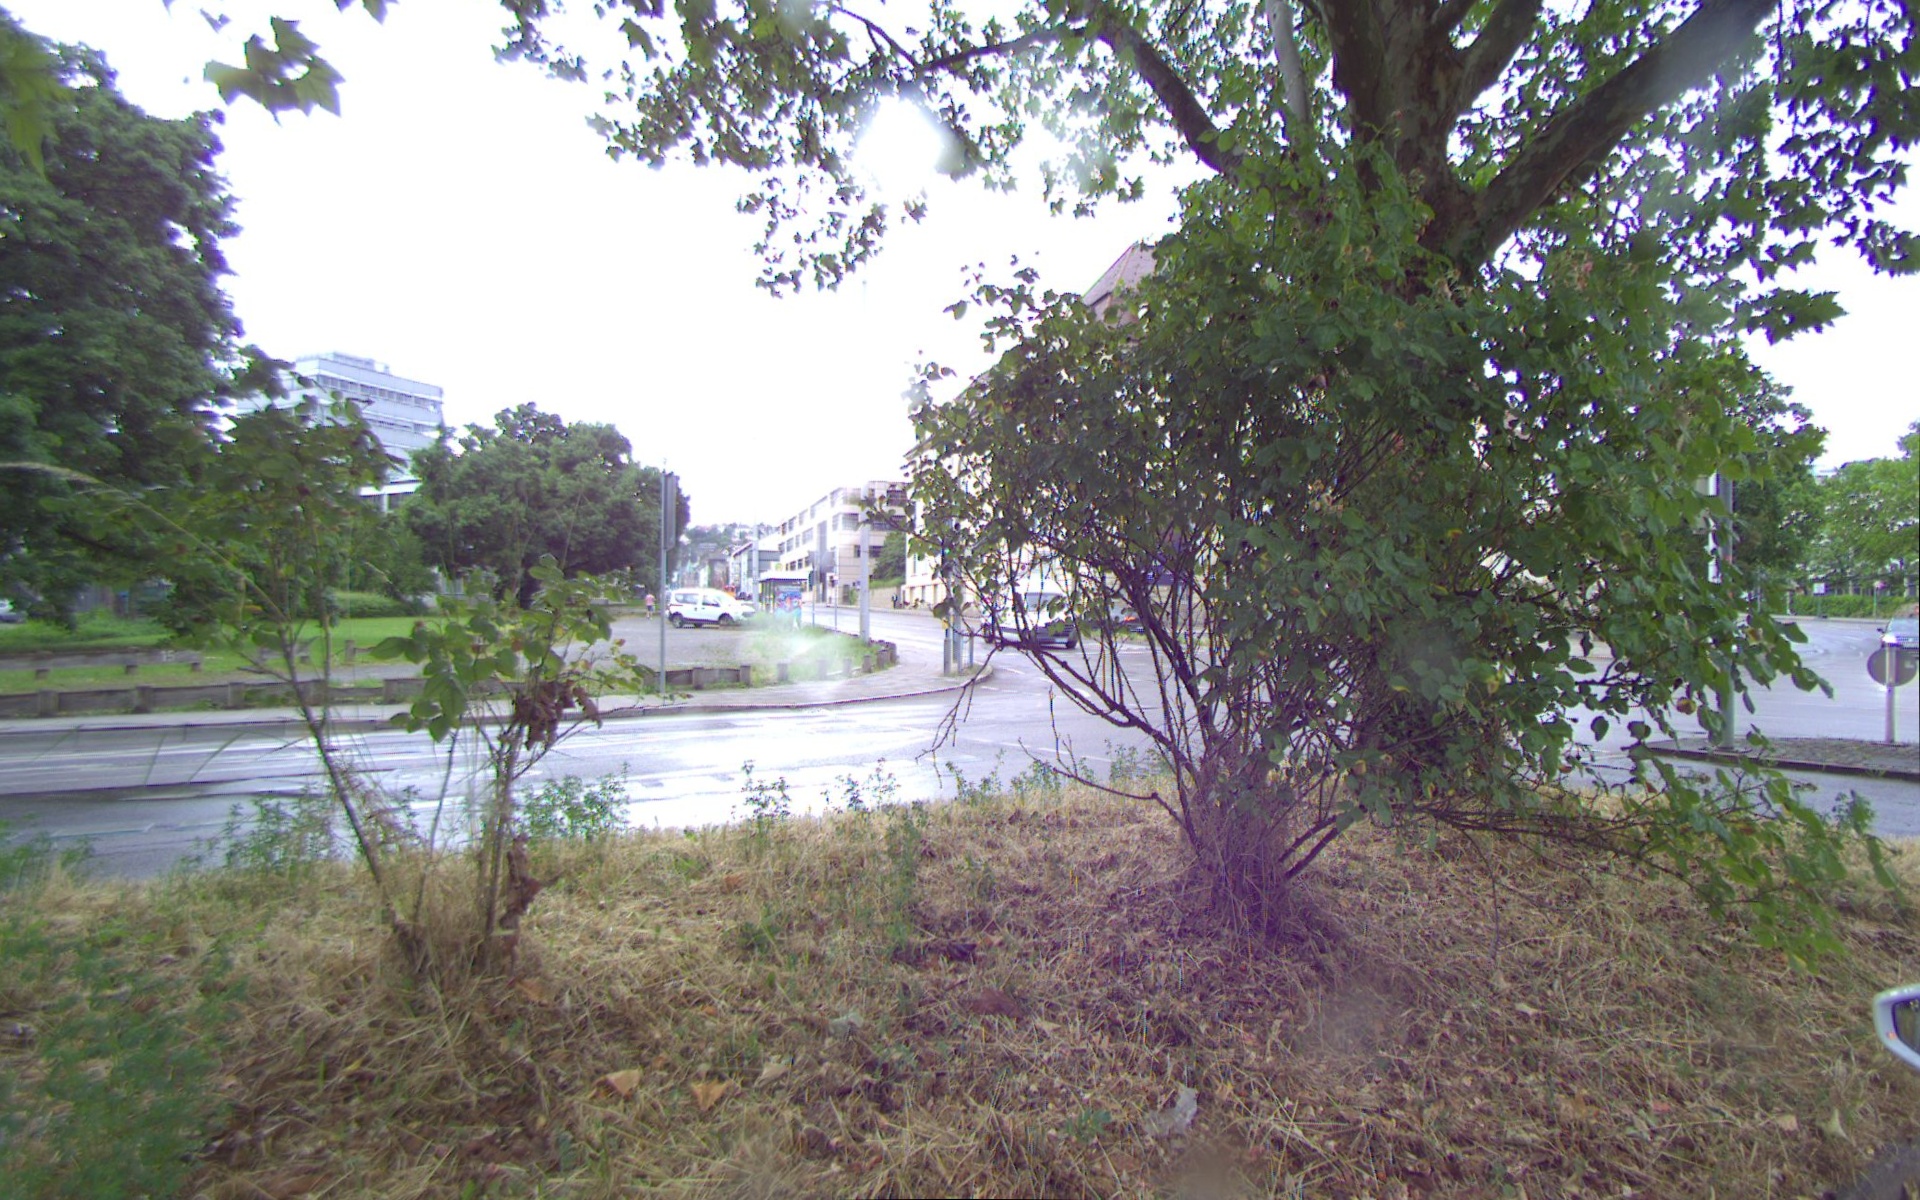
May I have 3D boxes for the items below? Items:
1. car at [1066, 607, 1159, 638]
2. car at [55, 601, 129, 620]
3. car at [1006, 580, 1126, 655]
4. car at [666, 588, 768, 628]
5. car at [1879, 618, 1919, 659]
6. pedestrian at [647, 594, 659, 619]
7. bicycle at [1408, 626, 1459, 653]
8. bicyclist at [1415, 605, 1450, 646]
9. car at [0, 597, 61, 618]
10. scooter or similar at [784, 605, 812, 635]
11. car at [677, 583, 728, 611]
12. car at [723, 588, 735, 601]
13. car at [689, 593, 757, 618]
[{"bbox_3d":[7.323,1.074,48.692,1.981,1.396,4.342,1,0,-36],"label":"car"},{"bbox_3d":[-60.333,0.699,69.850,3.500,1.158,1.586,2,0,-18],"label":"car"},{"bbox_3d":[3.786,0.585,37.228,2.034,2.527,6.010,0,0,-20],"label":"car"},{"bbox_3d":[-11.307,0.385,46.744,4.420,1.791,1.833,0,-1,24],"label":"car"},{"bbox_3d":[39.306,1.561,41.573,1.847,1.585,4.252,-1,-1,43],"label":"car"},{"bbox_3d":[-19.080,0.388,62.357,0.557,1.548,0.669,2,0,-8],"label":"pedestrian"},{"bbox_3d":[19.926,1.640,42.284,1.795,1.070,0.644,1,-1,43],"label":"bicycle"},{"bbox_3d":[19.921,1.072,42.326,1.113,1.654,0.698,2,0,44],"label":"bicyclist"},{"bbox_3d":[-58.523,0.455,62.488,3.500,1.158,1.586,2,0,-18],"label":"car"},{"bbox_3d":[-6.576,0.794,40.852,0.541,1.182,1.253,2,0,20],"label":"scooter or similar"},{"bbox_3d":[-17.406,-0.177,67.830,1.838,1.765,4.029,1,-1,-39],"label":"car"},{"bbox_3d":[-47.371,-1.083,205.928,1.969,2.652,3.983,2,0,-19],"label":"car"},{"bbox_3d":[-14.904,0.351,63.065,4.004,1.461,1.850,2,0,32],"label":"car"}]
